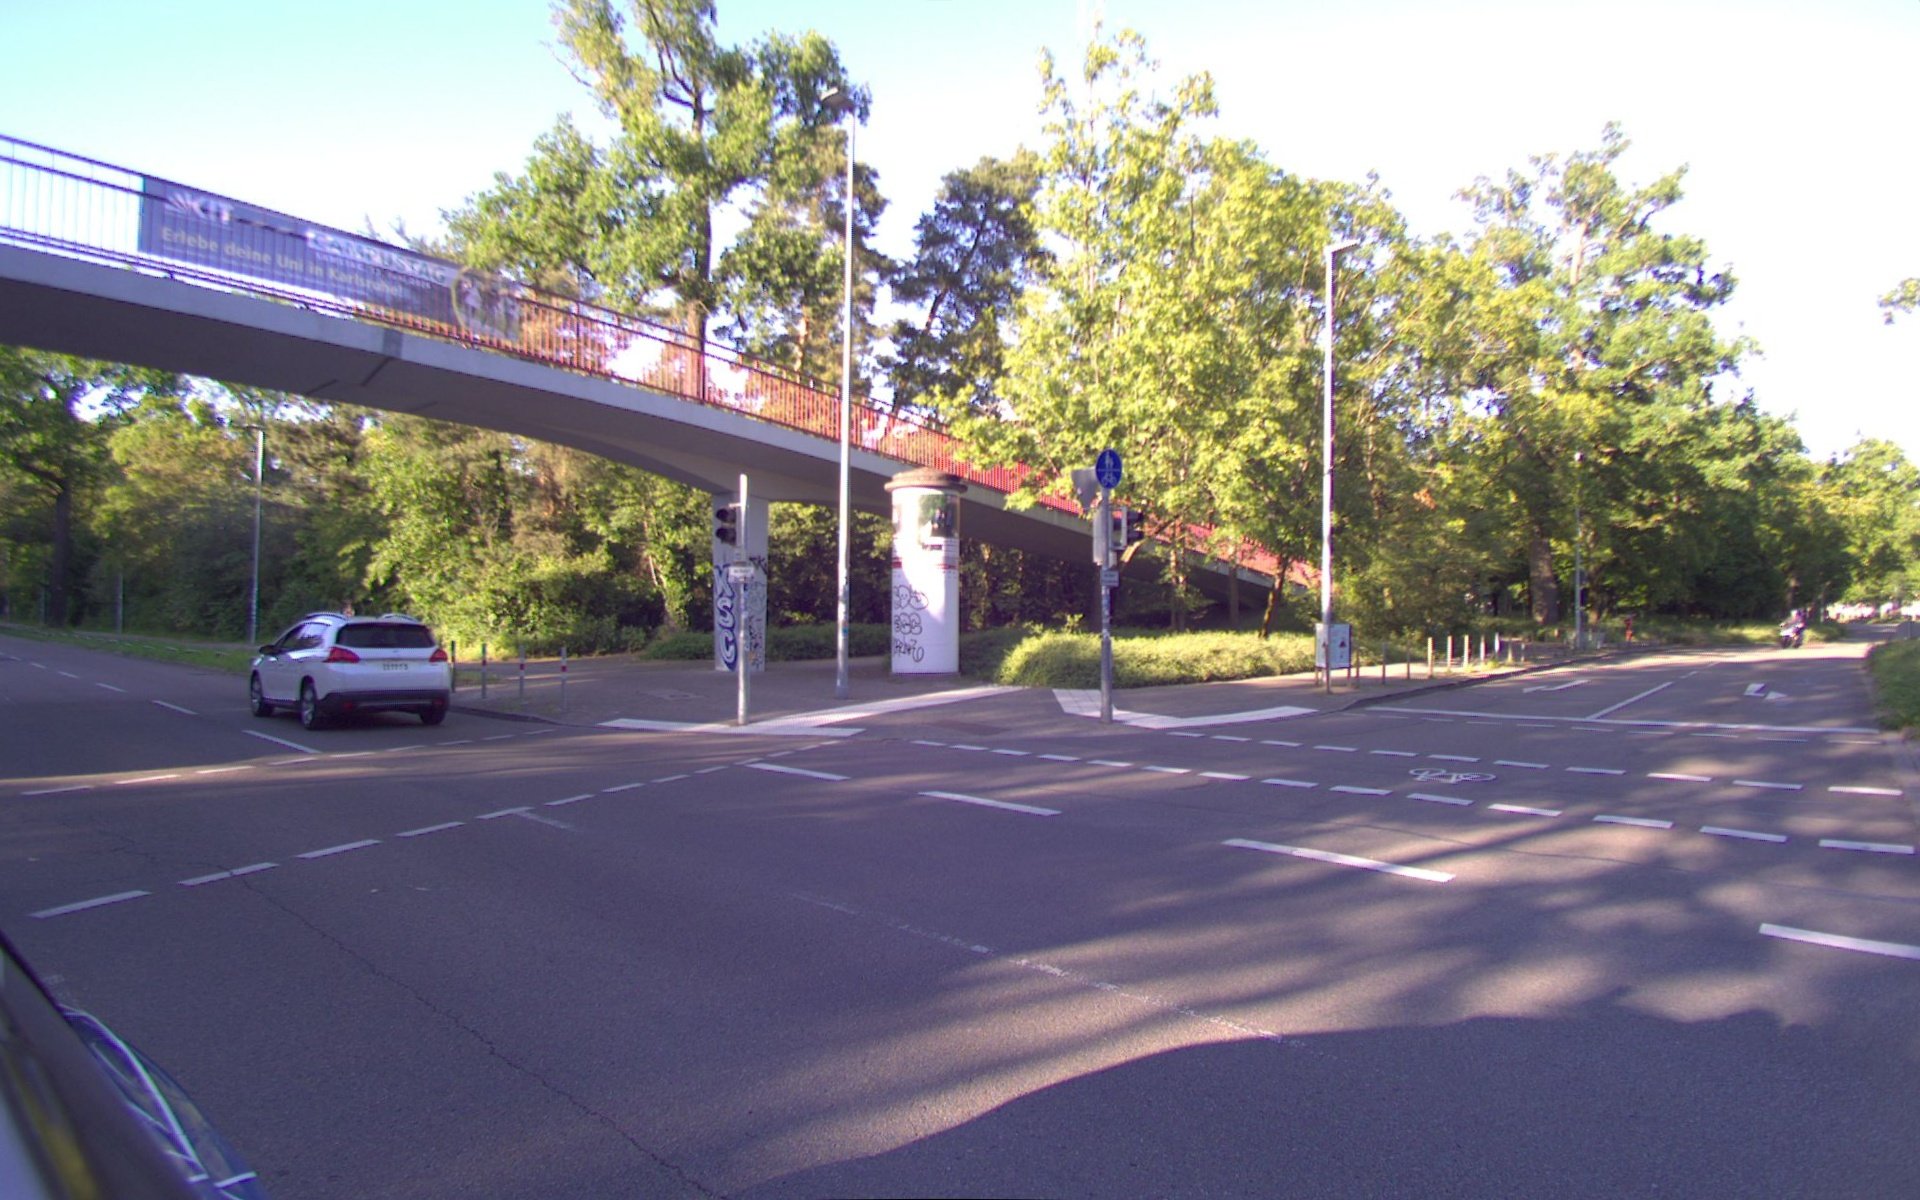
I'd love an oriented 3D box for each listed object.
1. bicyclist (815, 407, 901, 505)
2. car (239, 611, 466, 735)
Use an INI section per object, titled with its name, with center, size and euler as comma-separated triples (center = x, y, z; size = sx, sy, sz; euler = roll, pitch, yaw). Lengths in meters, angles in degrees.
[bicyclist]
center = -2.683, -3.752, 26.741
size = 1.412, 2.185, 1.660
euler = 0, -4, 43
[car]
center = -8.773, 0.962, 14.493
size = 3.900, 1.535, 1.659
euler = -1, -3, 42
